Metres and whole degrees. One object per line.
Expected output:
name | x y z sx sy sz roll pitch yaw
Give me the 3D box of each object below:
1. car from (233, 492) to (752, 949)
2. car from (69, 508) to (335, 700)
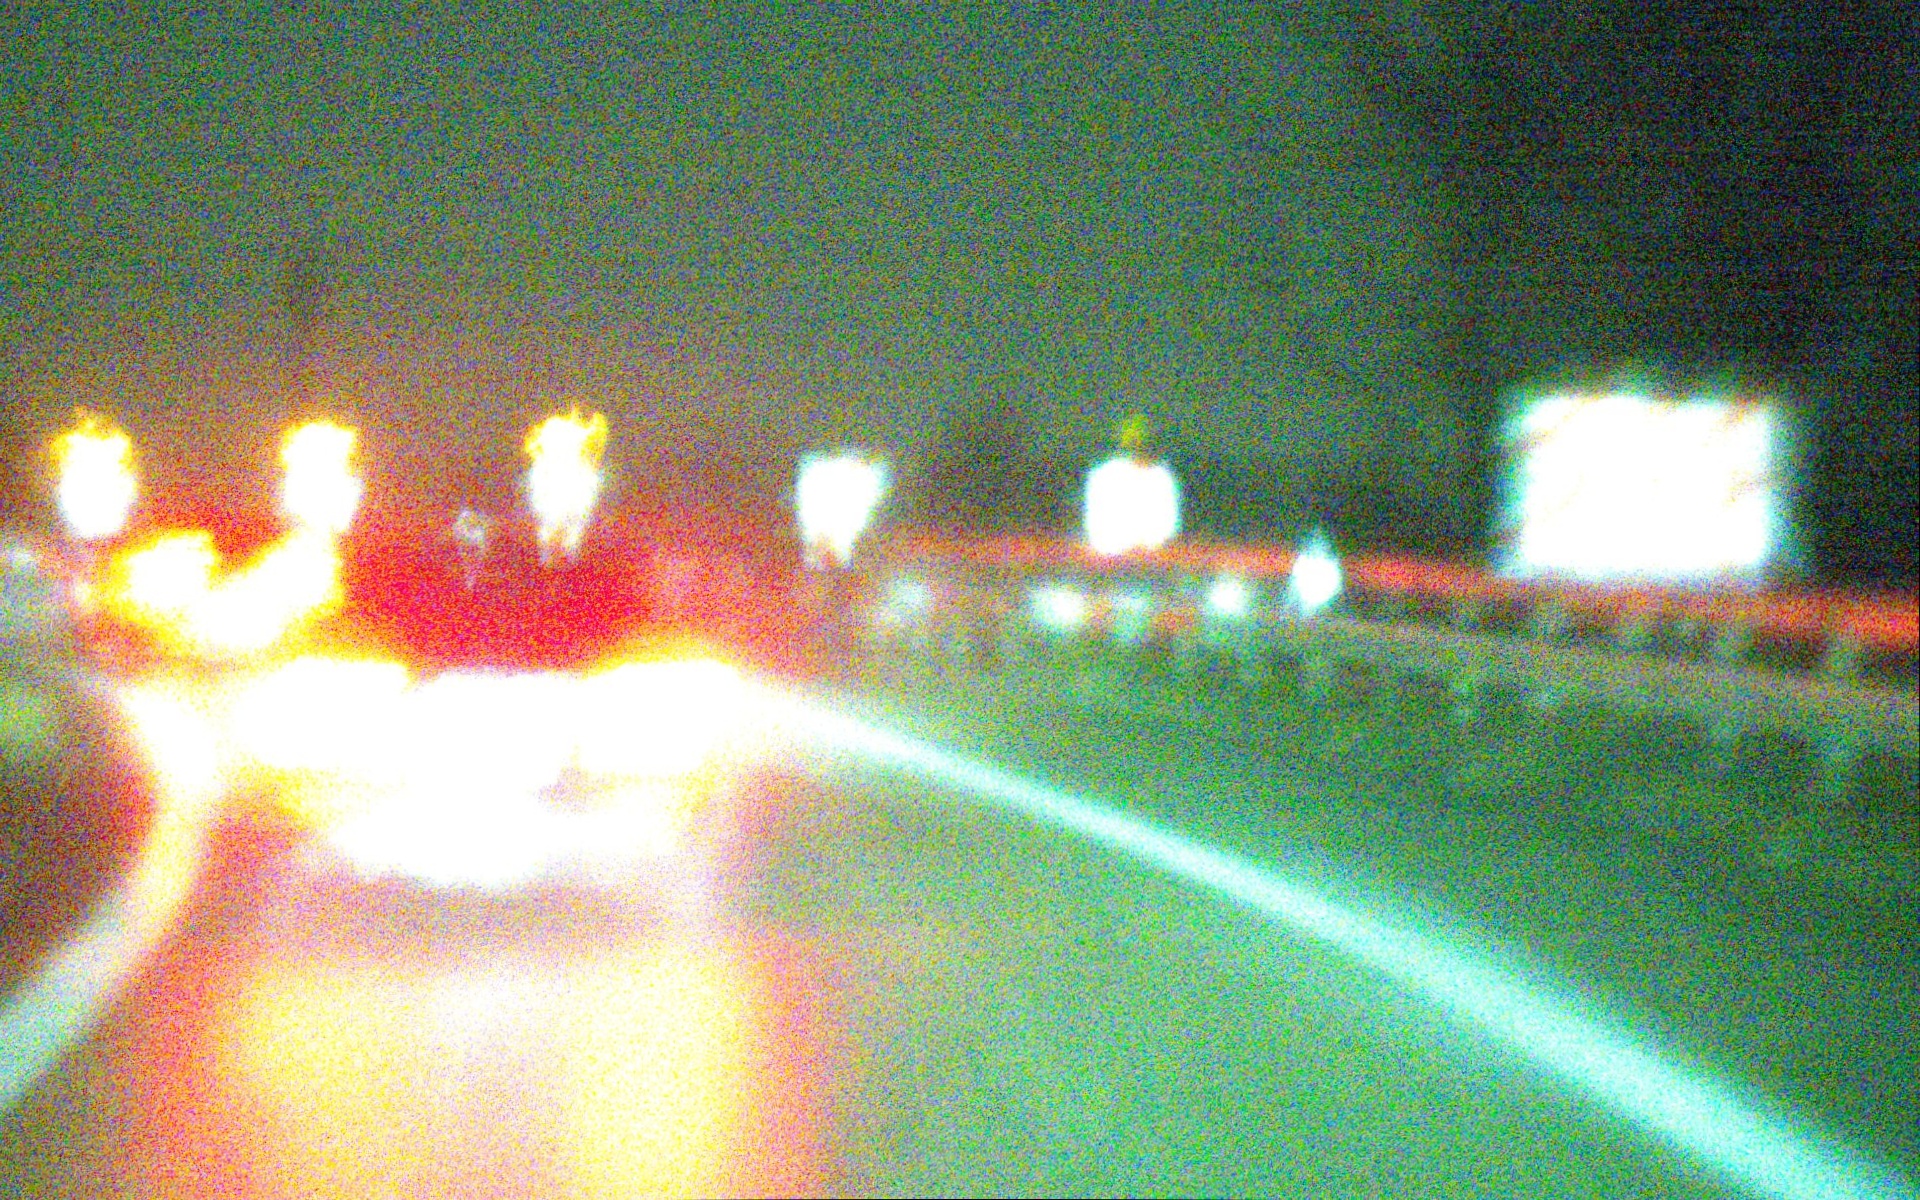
car | -1.988 0.391 14.578 1.860 1.641 4.070 -1 1 -8
car | -7.411 -0.025 33.335 1.895 1.714 4.047 -1 2 -21
